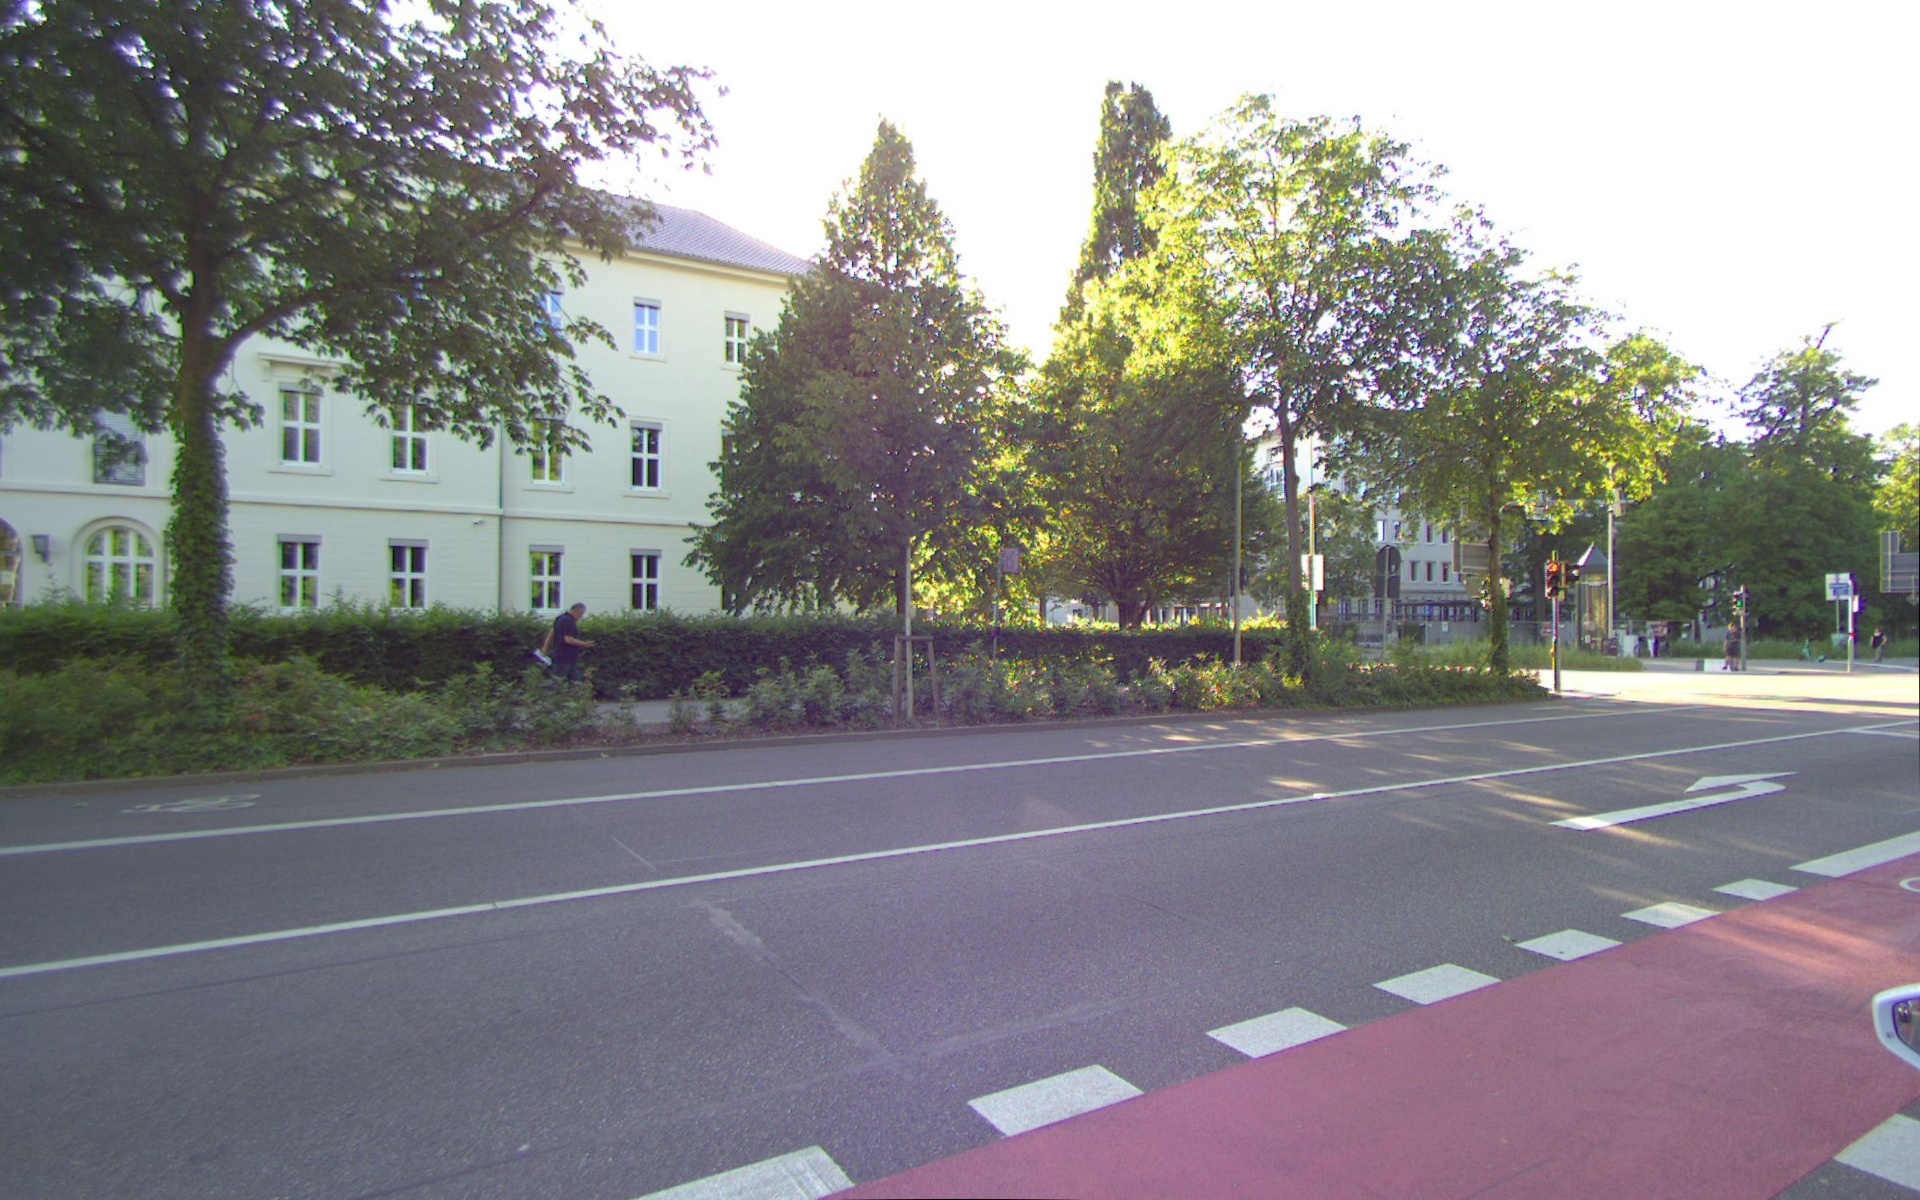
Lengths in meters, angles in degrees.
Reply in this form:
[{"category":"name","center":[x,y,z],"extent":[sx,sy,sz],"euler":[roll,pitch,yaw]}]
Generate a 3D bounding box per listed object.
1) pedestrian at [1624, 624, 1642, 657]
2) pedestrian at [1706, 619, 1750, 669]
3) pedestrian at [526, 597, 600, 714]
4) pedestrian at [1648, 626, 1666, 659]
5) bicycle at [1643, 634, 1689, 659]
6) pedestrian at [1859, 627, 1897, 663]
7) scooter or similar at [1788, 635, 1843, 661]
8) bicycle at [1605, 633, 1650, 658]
[{"category":"pedestrian","center":[34.271,2.076,51.161],"extent":[0.442,1.664,0.624],"euler":[1,0,-39]},{"category":"pedestrian","center":[31.867,1.829,41.697],"extent":[1.175,2.040,0.992],"euler":[1,0,-25]},{"category":"pedestrian","center":[-6.141,0.845,15.520],"extent":[0.956,1.743,0.831],"euler":[1,-2,-29]},{"category":"pedestrian","center":[34.600,2.115,49.835],"extent":[0.442,1.601,0.624],"euler":[1,0,-39]},{"category":"bicycle","center":[35.032,2.315,49.858],"extent":[0.288,1.163,1.849],"euler":[1,-1,-36]},{"category":"pedestrian","center":[41.527,2.032,45.461],"extent":[0.992,1.624,1.080],"euler":[1,-2,-36]},{"category":"scooter or similar","center":[39.663,2.211,46.571],"extent":[1.882,1.139,0.713],"euler":[1,0,3]},{"category":"bicycle","center":[34.312,2.332,51.658],"extent":[0.438,1.163,1.849],"euler":[1,-1,-36]}]
